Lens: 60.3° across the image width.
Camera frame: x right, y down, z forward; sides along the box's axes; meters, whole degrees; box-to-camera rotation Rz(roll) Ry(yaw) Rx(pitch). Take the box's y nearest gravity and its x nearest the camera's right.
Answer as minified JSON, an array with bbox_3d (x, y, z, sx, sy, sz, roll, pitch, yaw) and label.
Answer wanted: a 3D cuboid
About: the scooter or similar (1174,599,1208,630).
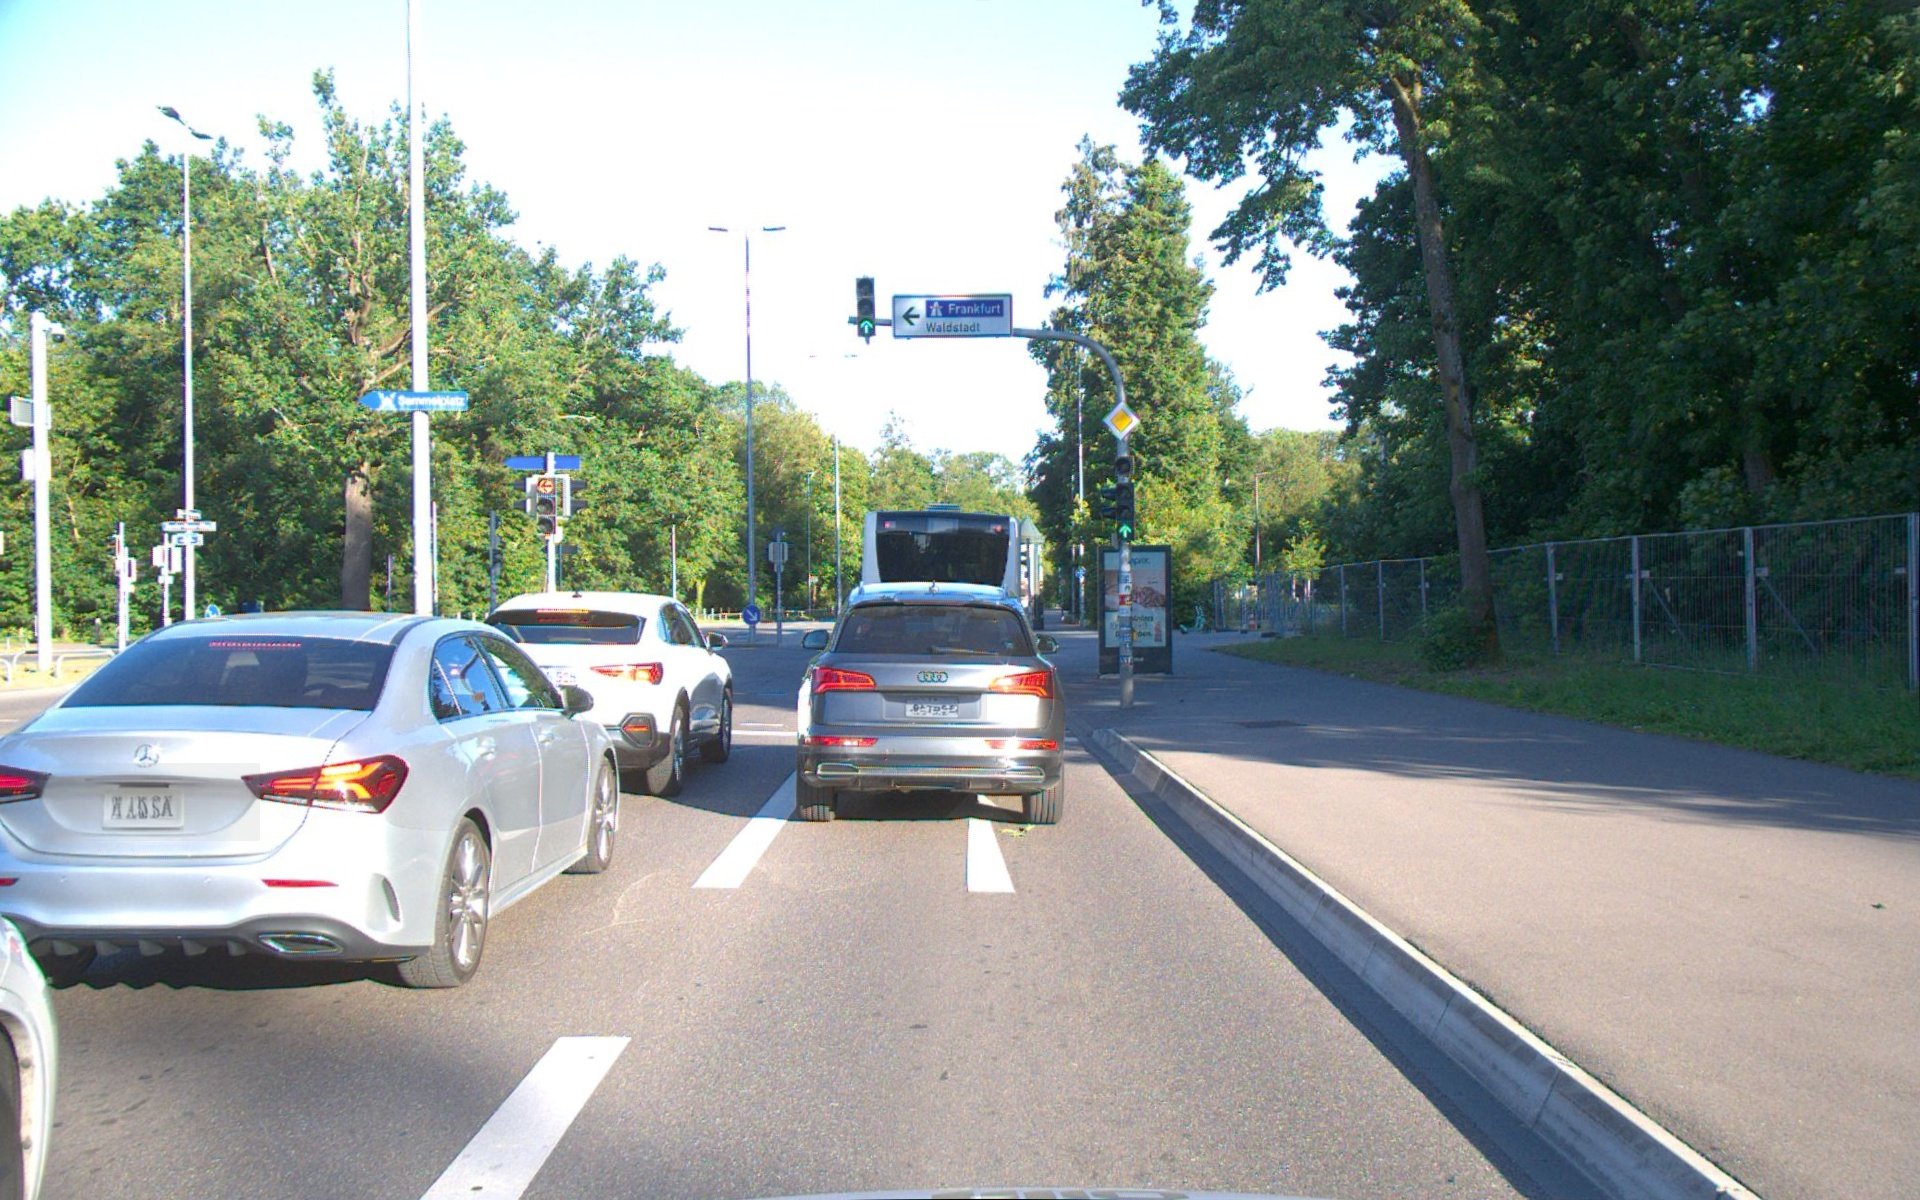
[{"bbox_3d":[8.986,0.566,64.360,1.239,1.167,0.394,-2,-2,7],"label":"scooter or similar"}]

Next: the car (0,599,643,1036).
[{"bbox_3d":[-2.678,0.728,7.691,1.623,1.452,4.317,0,0,-1],"label":"car"}]

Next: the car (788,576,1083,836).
[{"bbox_3d":[-0.186,0.678,12.848,1.854,1.633,4.543,1,0,-1],"label":"car"}]

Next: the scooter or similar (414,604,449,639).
[{"bbox_3d":[-17.819,0.729,55.781,1.044,1.166,0.394,0,1,7],"label":"scooter or similar"}]

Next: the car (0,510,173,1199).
[{"bbox_3d":[-2.598,0.635,1.554,1.756,1.611,4.319,0,0,-2],"label":"car"}]

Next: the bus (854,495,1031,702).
[{"bbox_3d":[-0.354,0.004,31.070,2.635,3.096,12.038,1,0,-1],"label":"bus"}]

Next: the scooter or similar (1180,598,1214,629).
[{"bbox_3d":[9.308,0.524,64.997,1.219,1.187,0.394,-2,-2,25],"label":"scooter or similar"}]

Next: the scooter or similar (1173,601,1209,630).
[{"bbox_3d":[9.478,0.638,67.932,1.411,1.187,0.393,-2,-2,29],"label":"scooter or similar"}]

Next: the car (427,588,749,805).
[{"bbox_3d":[-2.934,0.690,13.984,1.796,1.539,4.299,0,0,-1],"label":"car"}]
